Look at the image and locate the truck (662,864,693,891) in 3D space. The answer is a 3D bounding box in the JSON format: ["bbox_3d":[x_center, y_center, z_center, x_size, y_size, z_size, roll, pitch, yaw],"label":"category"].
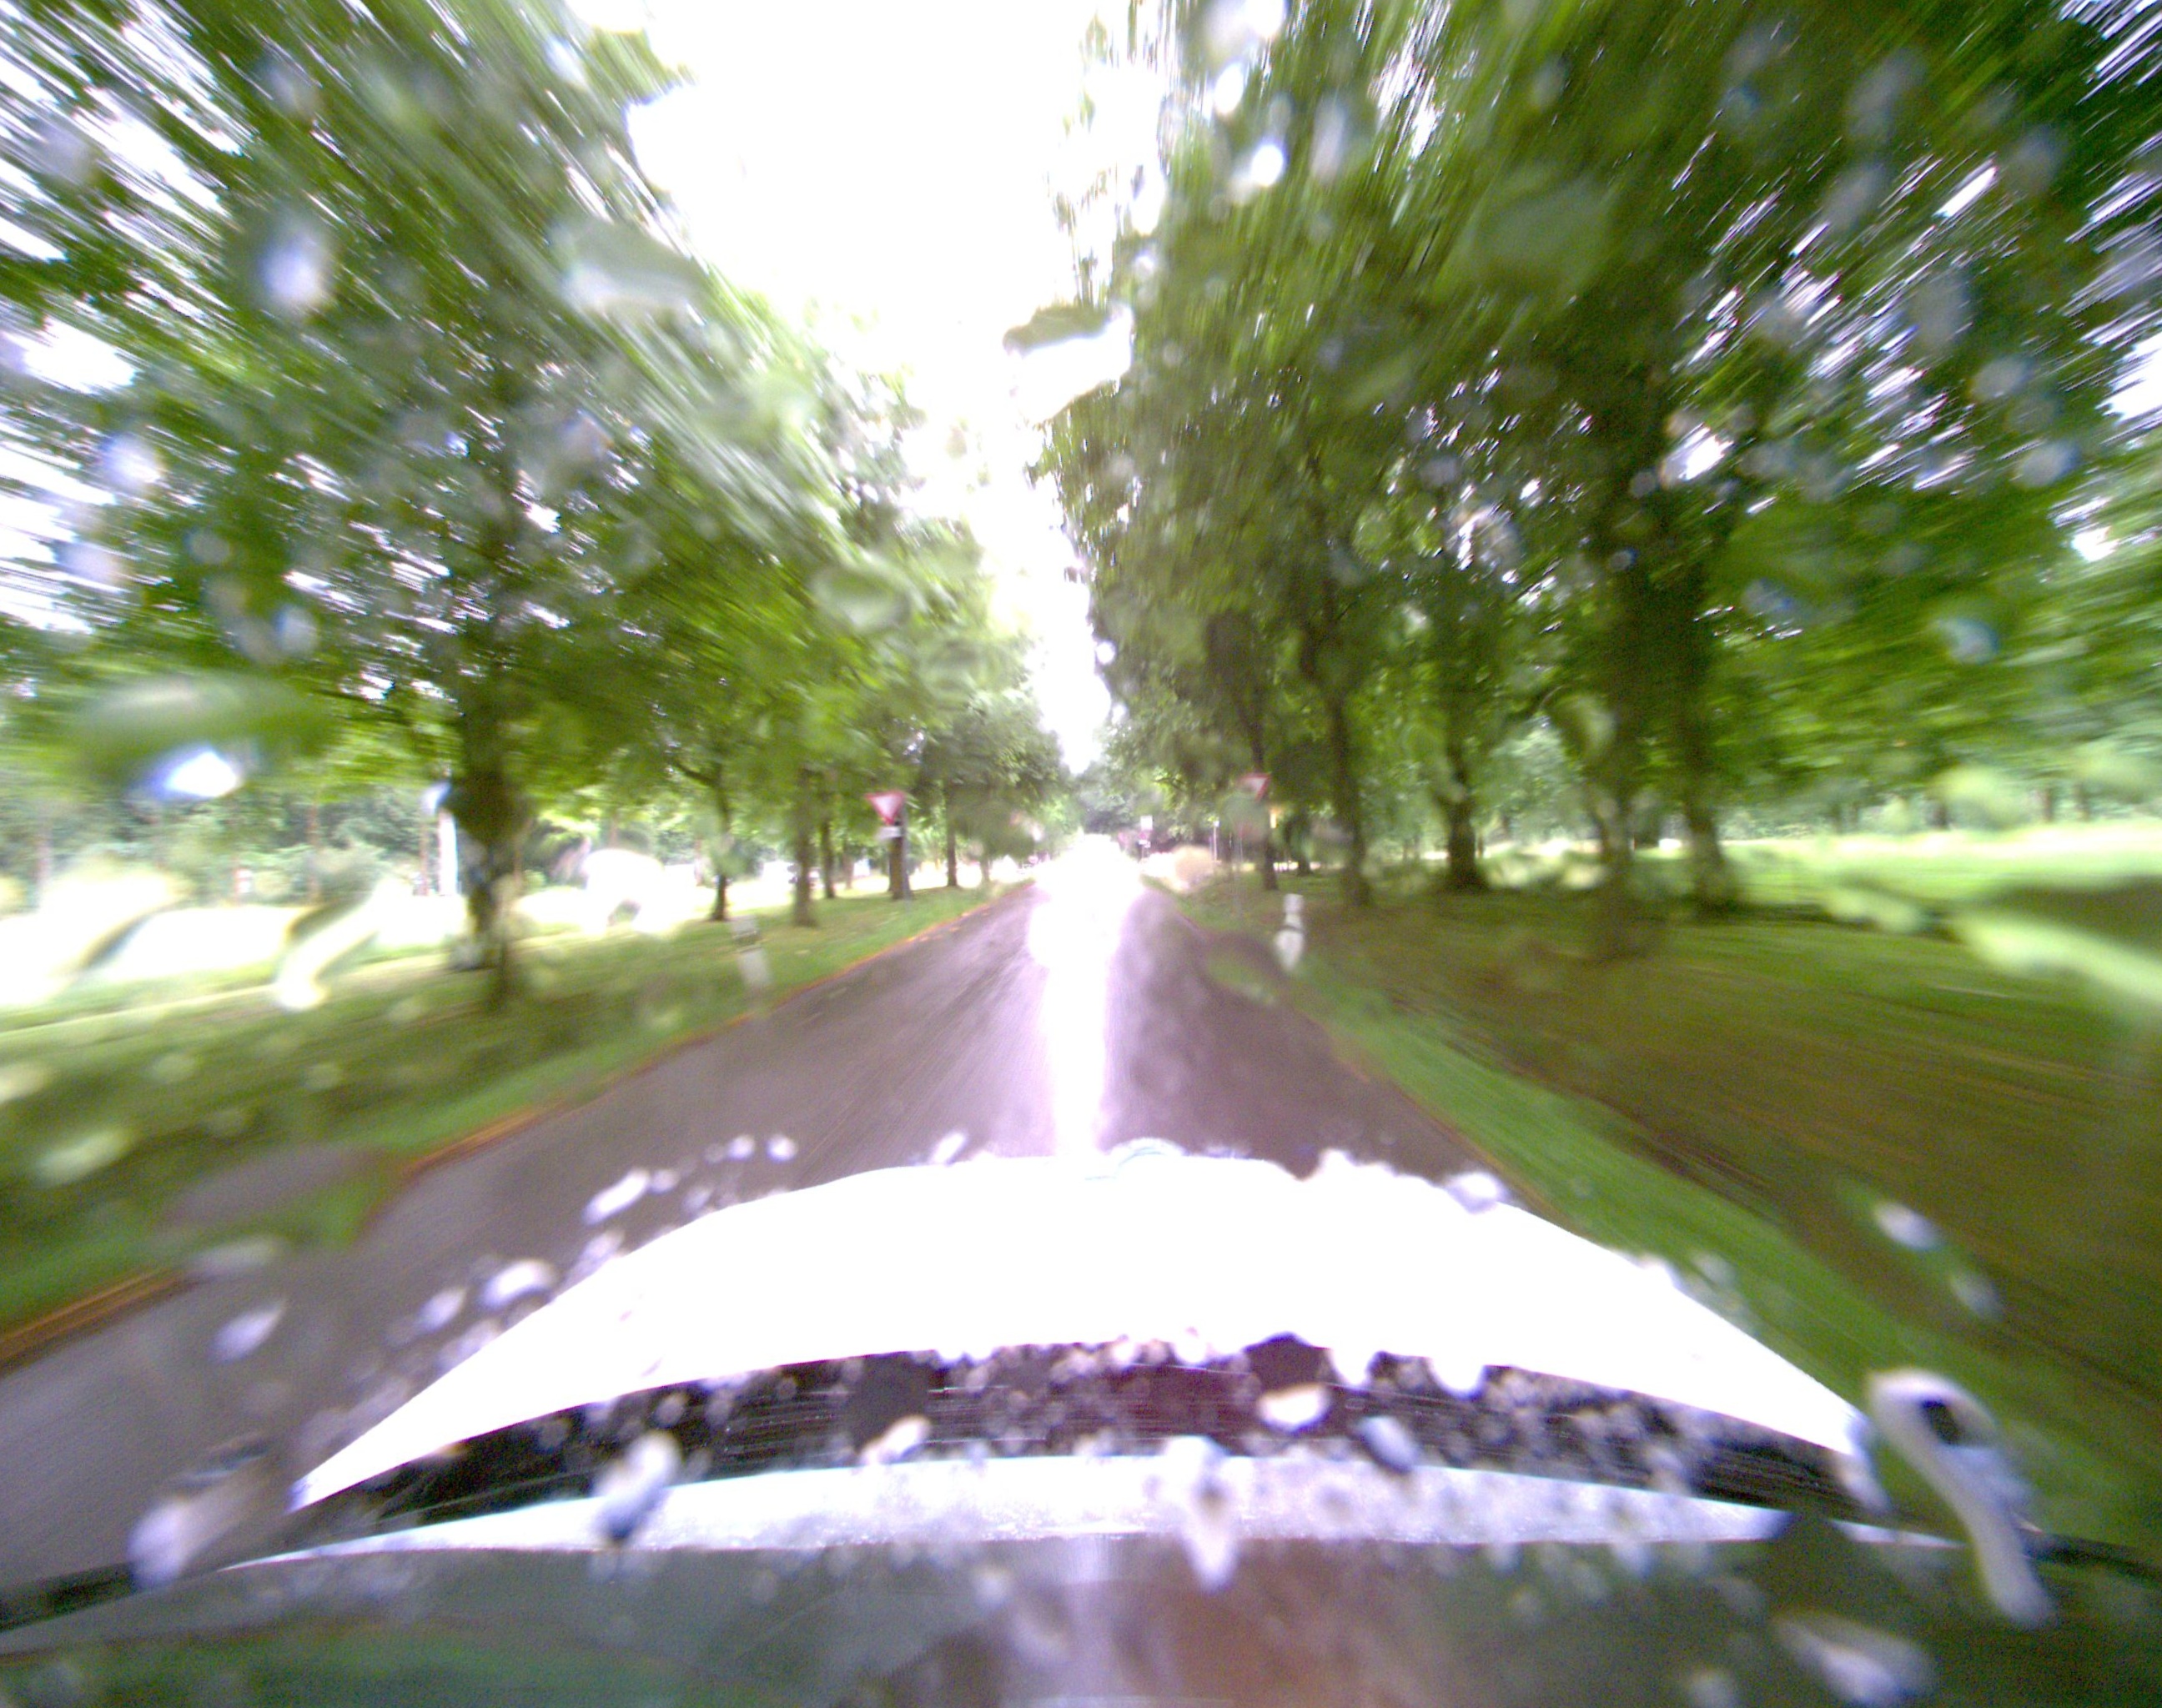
[{"bbox_3d":[-38.097,2.184,76.963,1.872,2.442,3.334,-2,0,-13],"label":"truck"}]

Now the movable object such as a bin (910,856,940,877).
[{"bbox_3d":[-26.237,2.057,137.330,4.655,3.294,3.900,-2,-1,-10],"label":"movable object such as a bin"}]

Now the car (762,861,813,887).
[{"bbox_3d":[-29.972,2.054,83.103,5.907,2.408,2.407,-4,-3,42],"label":"car"}]

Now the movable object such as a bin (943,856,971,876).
[{"bbox_3d":[-21.197,2.049,138.909,4.582,3.294,3.653,-2,-1,-10],"label":"movable object such as a bin"}]

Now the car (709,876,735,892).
[{"bbox_3d":[-34.594,2.876,78.564,1.767,1.429,4.083,-2,0,-17],"label":"car"}]
